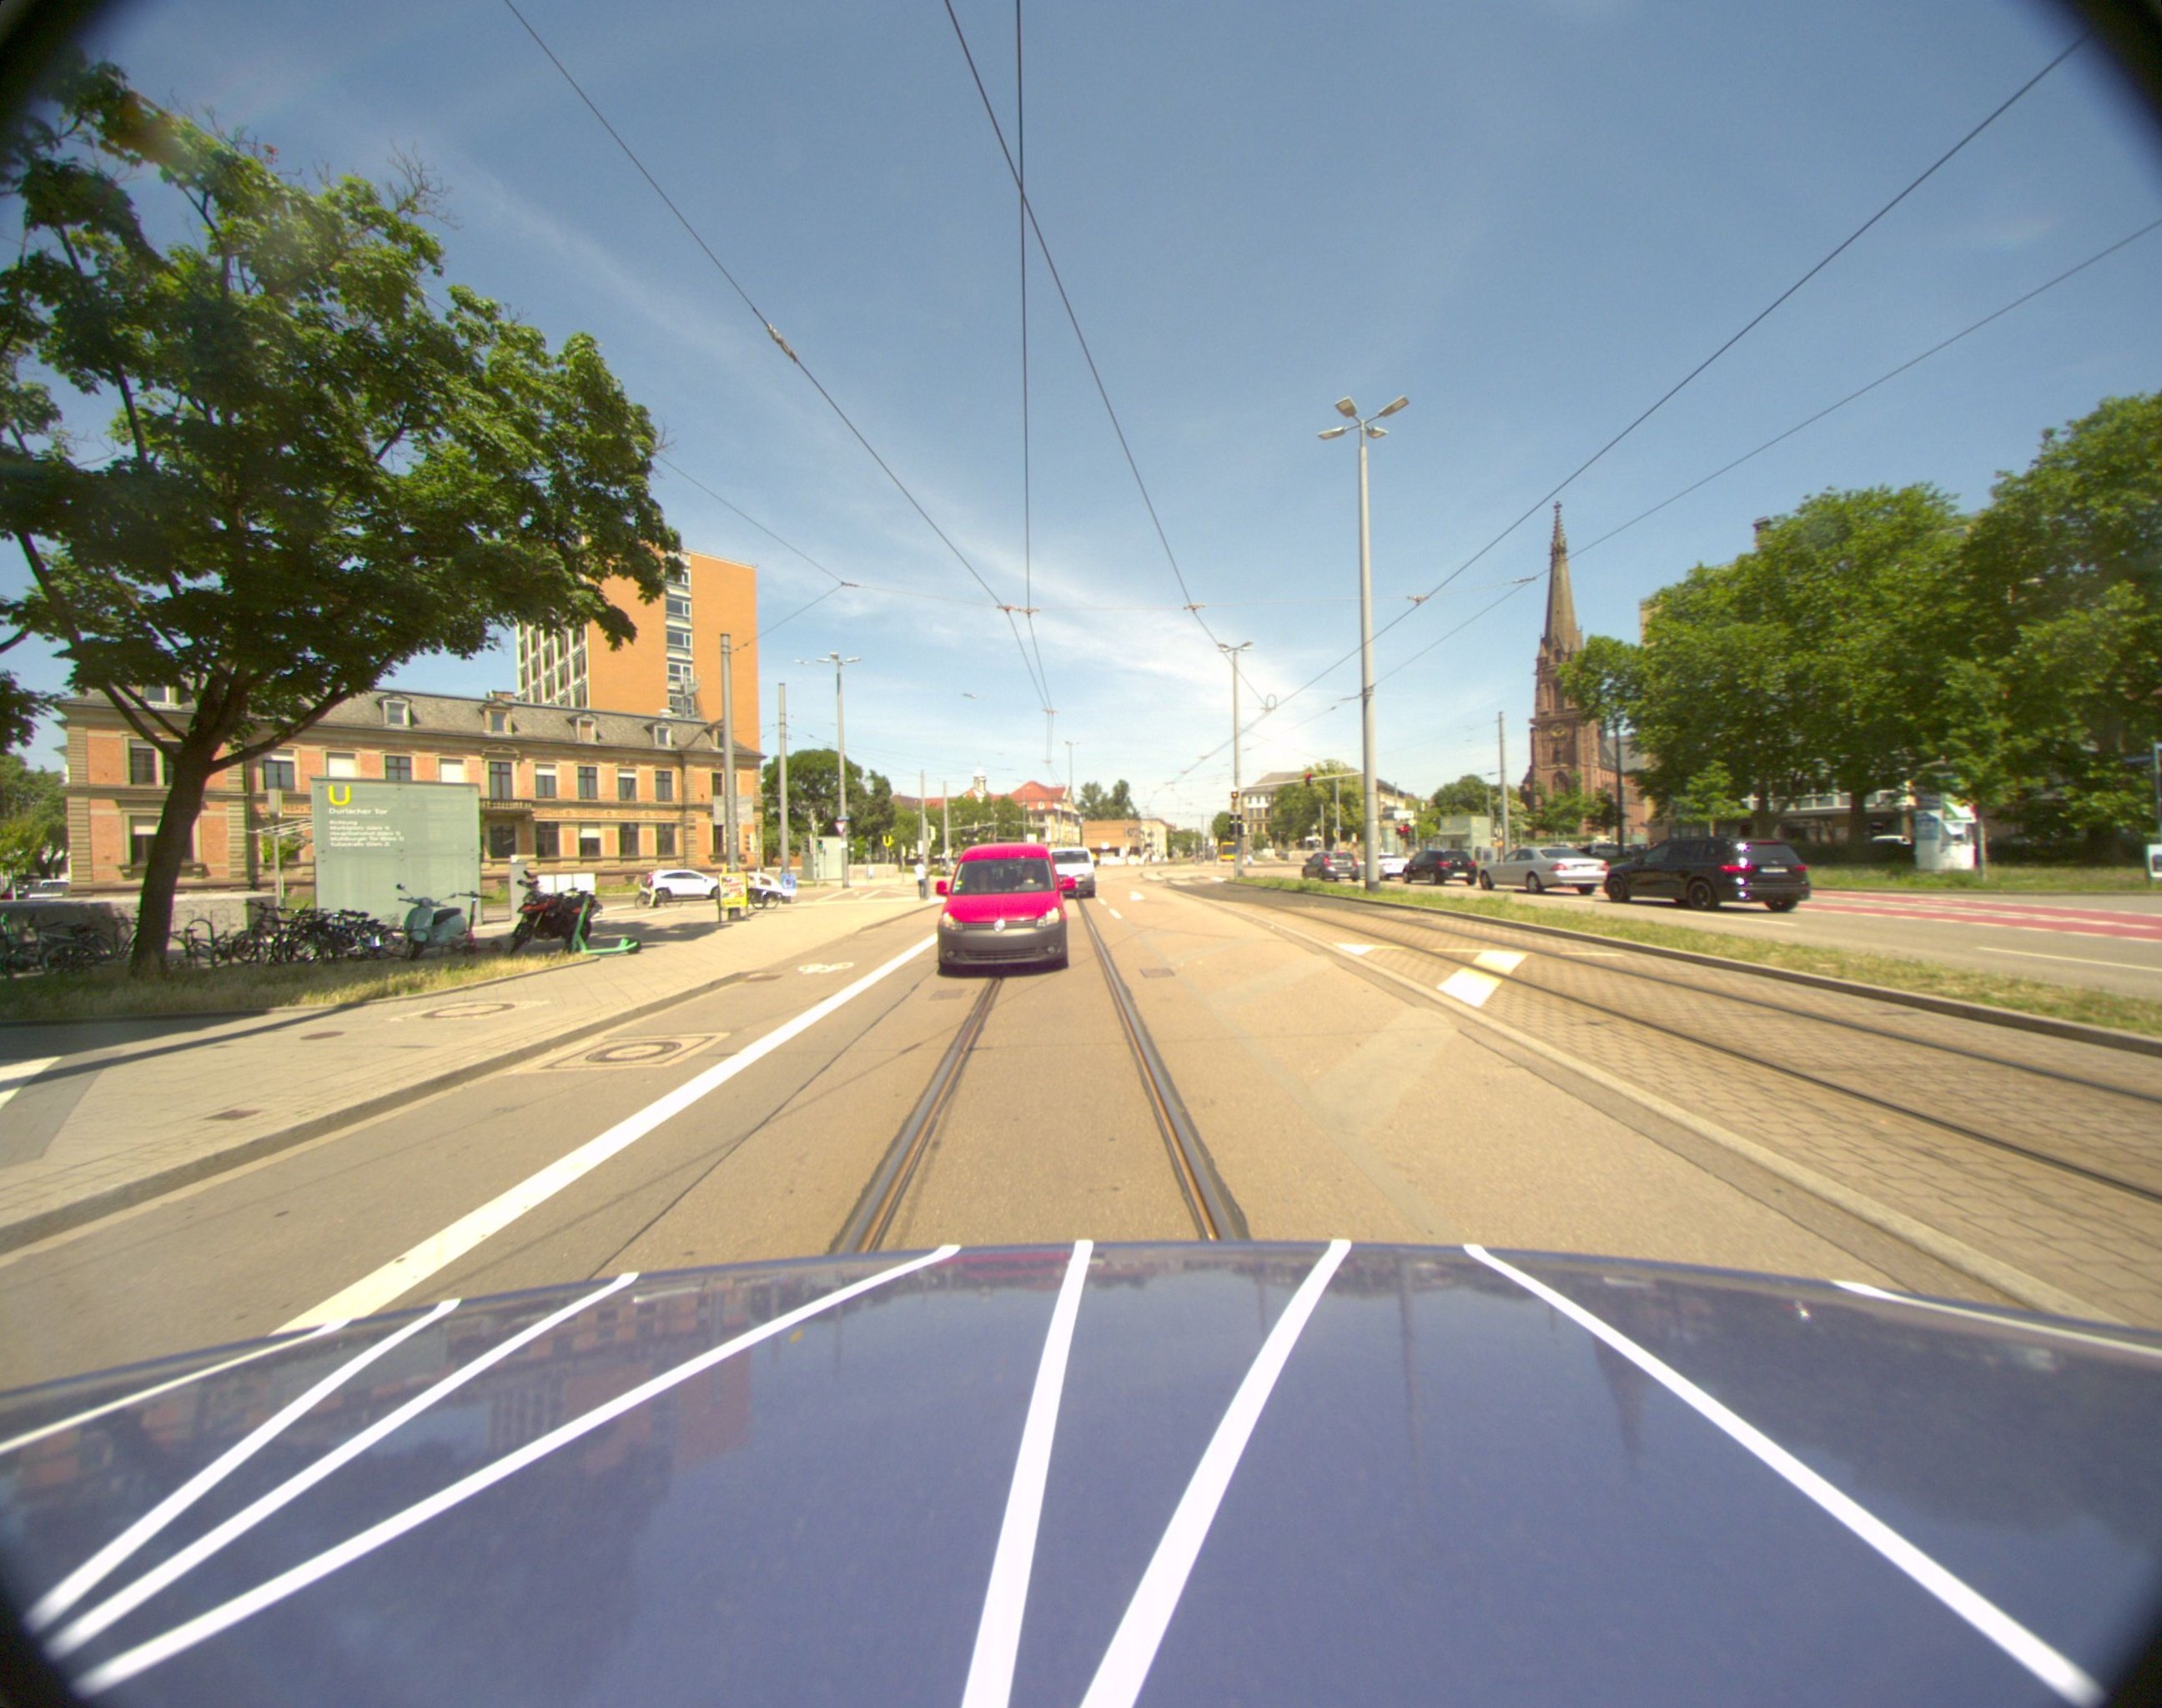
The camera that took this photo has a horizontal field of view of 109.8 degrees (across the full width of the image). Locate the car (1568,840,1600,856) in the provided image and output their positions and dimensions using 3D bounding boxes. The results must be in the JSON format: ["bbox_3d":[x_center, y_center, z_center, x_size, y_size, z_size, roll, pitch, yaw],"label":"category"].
[{"bbox_3d":[40.289,-0.477,60.857,1.986,1.148,0.503,-4,0,17],"label":"car"}]

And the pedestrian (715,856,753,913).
[{"bbox_3d":[-11.171,0.957,24.470,0.826,1.765,0.812,-3,2,-45],"label":"pedestrian"}]

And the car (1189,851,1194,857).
[{"bbox_3d":[29.010,0.050,199.311,1.439,1.586,4.003,-2,0,9],"label":"car"}]

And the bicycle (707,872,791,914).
[{"bbox_3d":[-10.808,1.246,24.793,2.225,1.243,1.096,-2,0,-45],"label":"bicycle"}]

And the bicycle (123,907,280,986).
[{"bbox_3d":[-15.106,1.550,13.140,0.647,1.140,1.838,-2,0,-5],"label":"bicycle"}]

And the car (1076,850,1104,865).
[{"bbox_3d":[1.303,0.465,108.016,2.003,2.002,4.586,-2,0,-27],"label":"car"}]

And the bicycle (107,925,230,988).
[{"bbox_3d":[-15.738,1.744,13.149,0.457,0.900,1.428,-2,0,-5],"label":"bicycle"}]

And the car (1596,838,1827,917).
[{"bbox_3d":[14.514,0.479,17.914,1.826,1.617,4.525,0,0,2],"label":"car"}]

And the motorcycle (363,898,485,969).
[{"bbox_3d":[-12.048,1.432,14.017,0.692,1.090,1.747,-2,1,0],"label":"motorcycle"}]

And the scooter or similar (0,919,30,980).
[{"bbox_3d":[-20.679,1.824,14.296,0.988,1.119,0.267,-2,0,-35],"label":"scooter or similar"}]

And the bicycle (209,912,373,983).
[{"bbox_3d":[-13.529,1.572,13.122,0.647,0.959,2.082,-2,0,0],"label":"bicycle"}]

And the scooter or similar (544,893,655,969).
[{"bbox_3d":[-8.186,1.281,12.991,1.527,1.149,0.713,-2,0,-29],"label":"scooter or similar"}]

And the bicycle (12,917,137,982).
[{"bbox_3d":[-18.386,1.713,13.930,0.504,0.986,1.567,-2,0,-15],"label":"bicycle"}]

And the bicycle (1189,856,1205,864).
[{"bbox_3d":[14.665,0.759,96.298,1.906,0.973,0.528,-2,1,-5],"label":"bicycle"}]

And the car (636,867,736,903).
[{"bbox_3d":[-19.849,1.498,38.263,4.184,1.596,1.703,-2,0,-39],"label":"car"}]

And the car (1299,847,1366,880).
[{"bbox_3d":[12.053,0.465,36.708,1.848,1.471,4.330,-1,0,0],"label":"car"}]

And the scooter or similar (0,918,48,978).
[{"bbox_3d":[-20.914,1.837,14.725,0.988,1.119,0.267,-2,0,-35],"label":"scooter or similar"}]

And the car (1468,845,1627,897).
[{"bbox_3d":[15.028,0.491,24.905,1.999,1.521,5.130,0,0,-1],"label":"car"}]

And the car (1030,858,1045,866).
[{"bbox_3d":[-7.992,1.518,138.693,1.541,1.450,2.980,-2,0,-30],"label":"car"}]

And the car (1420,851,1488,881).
[{"bbox_3d":[20.657,0.632,42.321,1.538,1.588,4.399,0,0,-1],"label":"car"}]

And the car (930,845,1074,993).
[{"bbox_3d":[-1.190,0.821,11.676,1.756,1.802,4.095,-2,0,-6],"label":"car"}]

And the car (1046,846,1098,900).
[{"bbox_3d":[-0.359,0.698,29.997,1.874,1.954,3.823,-2,0,-1],"label":"car"}]

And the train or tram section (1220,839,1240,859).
[{"bbox_3d":[24.723,-0.792,126.107,2.840,3.195,9.115,-2,0,9],"label":"train or tram section"}]

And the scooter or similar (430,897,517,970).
[{"bbox_3d":[-10.959,1.401,13.757,0.602,1.145,1.378,-2,1,-11],"label":"scooter or similar"}]

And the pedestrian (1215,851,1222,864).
[{"bbox_3d":[17.472,0.482,96.758,0.657,1.661,0.449,-2,1,-16],"label":"pedestrian"}]

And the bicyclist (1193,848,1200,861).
[{"bbox_3d":[14.646,0.079,96.363,0.813,1.678,0.528,-2,1,-5],"label":"bicyclist"}]

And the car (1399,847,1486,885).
[{"bbox_3d":[14.736,0.468,31.192,1.675,1.453,3.903,-1,0,-1],"label":"car"}]

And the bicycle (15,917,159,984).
[{"bbox_3d":[-17.234,1.649,13.222,0.456,0.986,1.431,-2,0,16],"label":"bicycle"}]

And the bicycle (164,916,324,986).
[{"bbox_3d":[-14.309,1.626,13.080,0.647,0.959,1.839,-2,0,2],"label":"bicycle"}]

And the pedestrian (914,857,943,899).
[{"bbox_3d":[-6.650,1.051,33.142,0.808,1.769,0.876,-1,1,31],"label":"pedestrian"}]

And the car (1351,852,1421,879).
[{"bbox_3d":[15.009,0.530,37.629,1.711,1.291,4.202,0,0,-1],"label":"car"}]

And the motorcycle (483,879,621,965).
[{"bbox_3d":[-9.920,1.222,14.419,0.766,1.354,2.595,-2,1,0],"label":"motorcycle"}]

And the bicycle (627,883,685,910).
[{"bbox_3d":[-17.935,1.781,32.096,2.023,0.999,0.724,-2,0,-36],"label":"bicycle"}]
